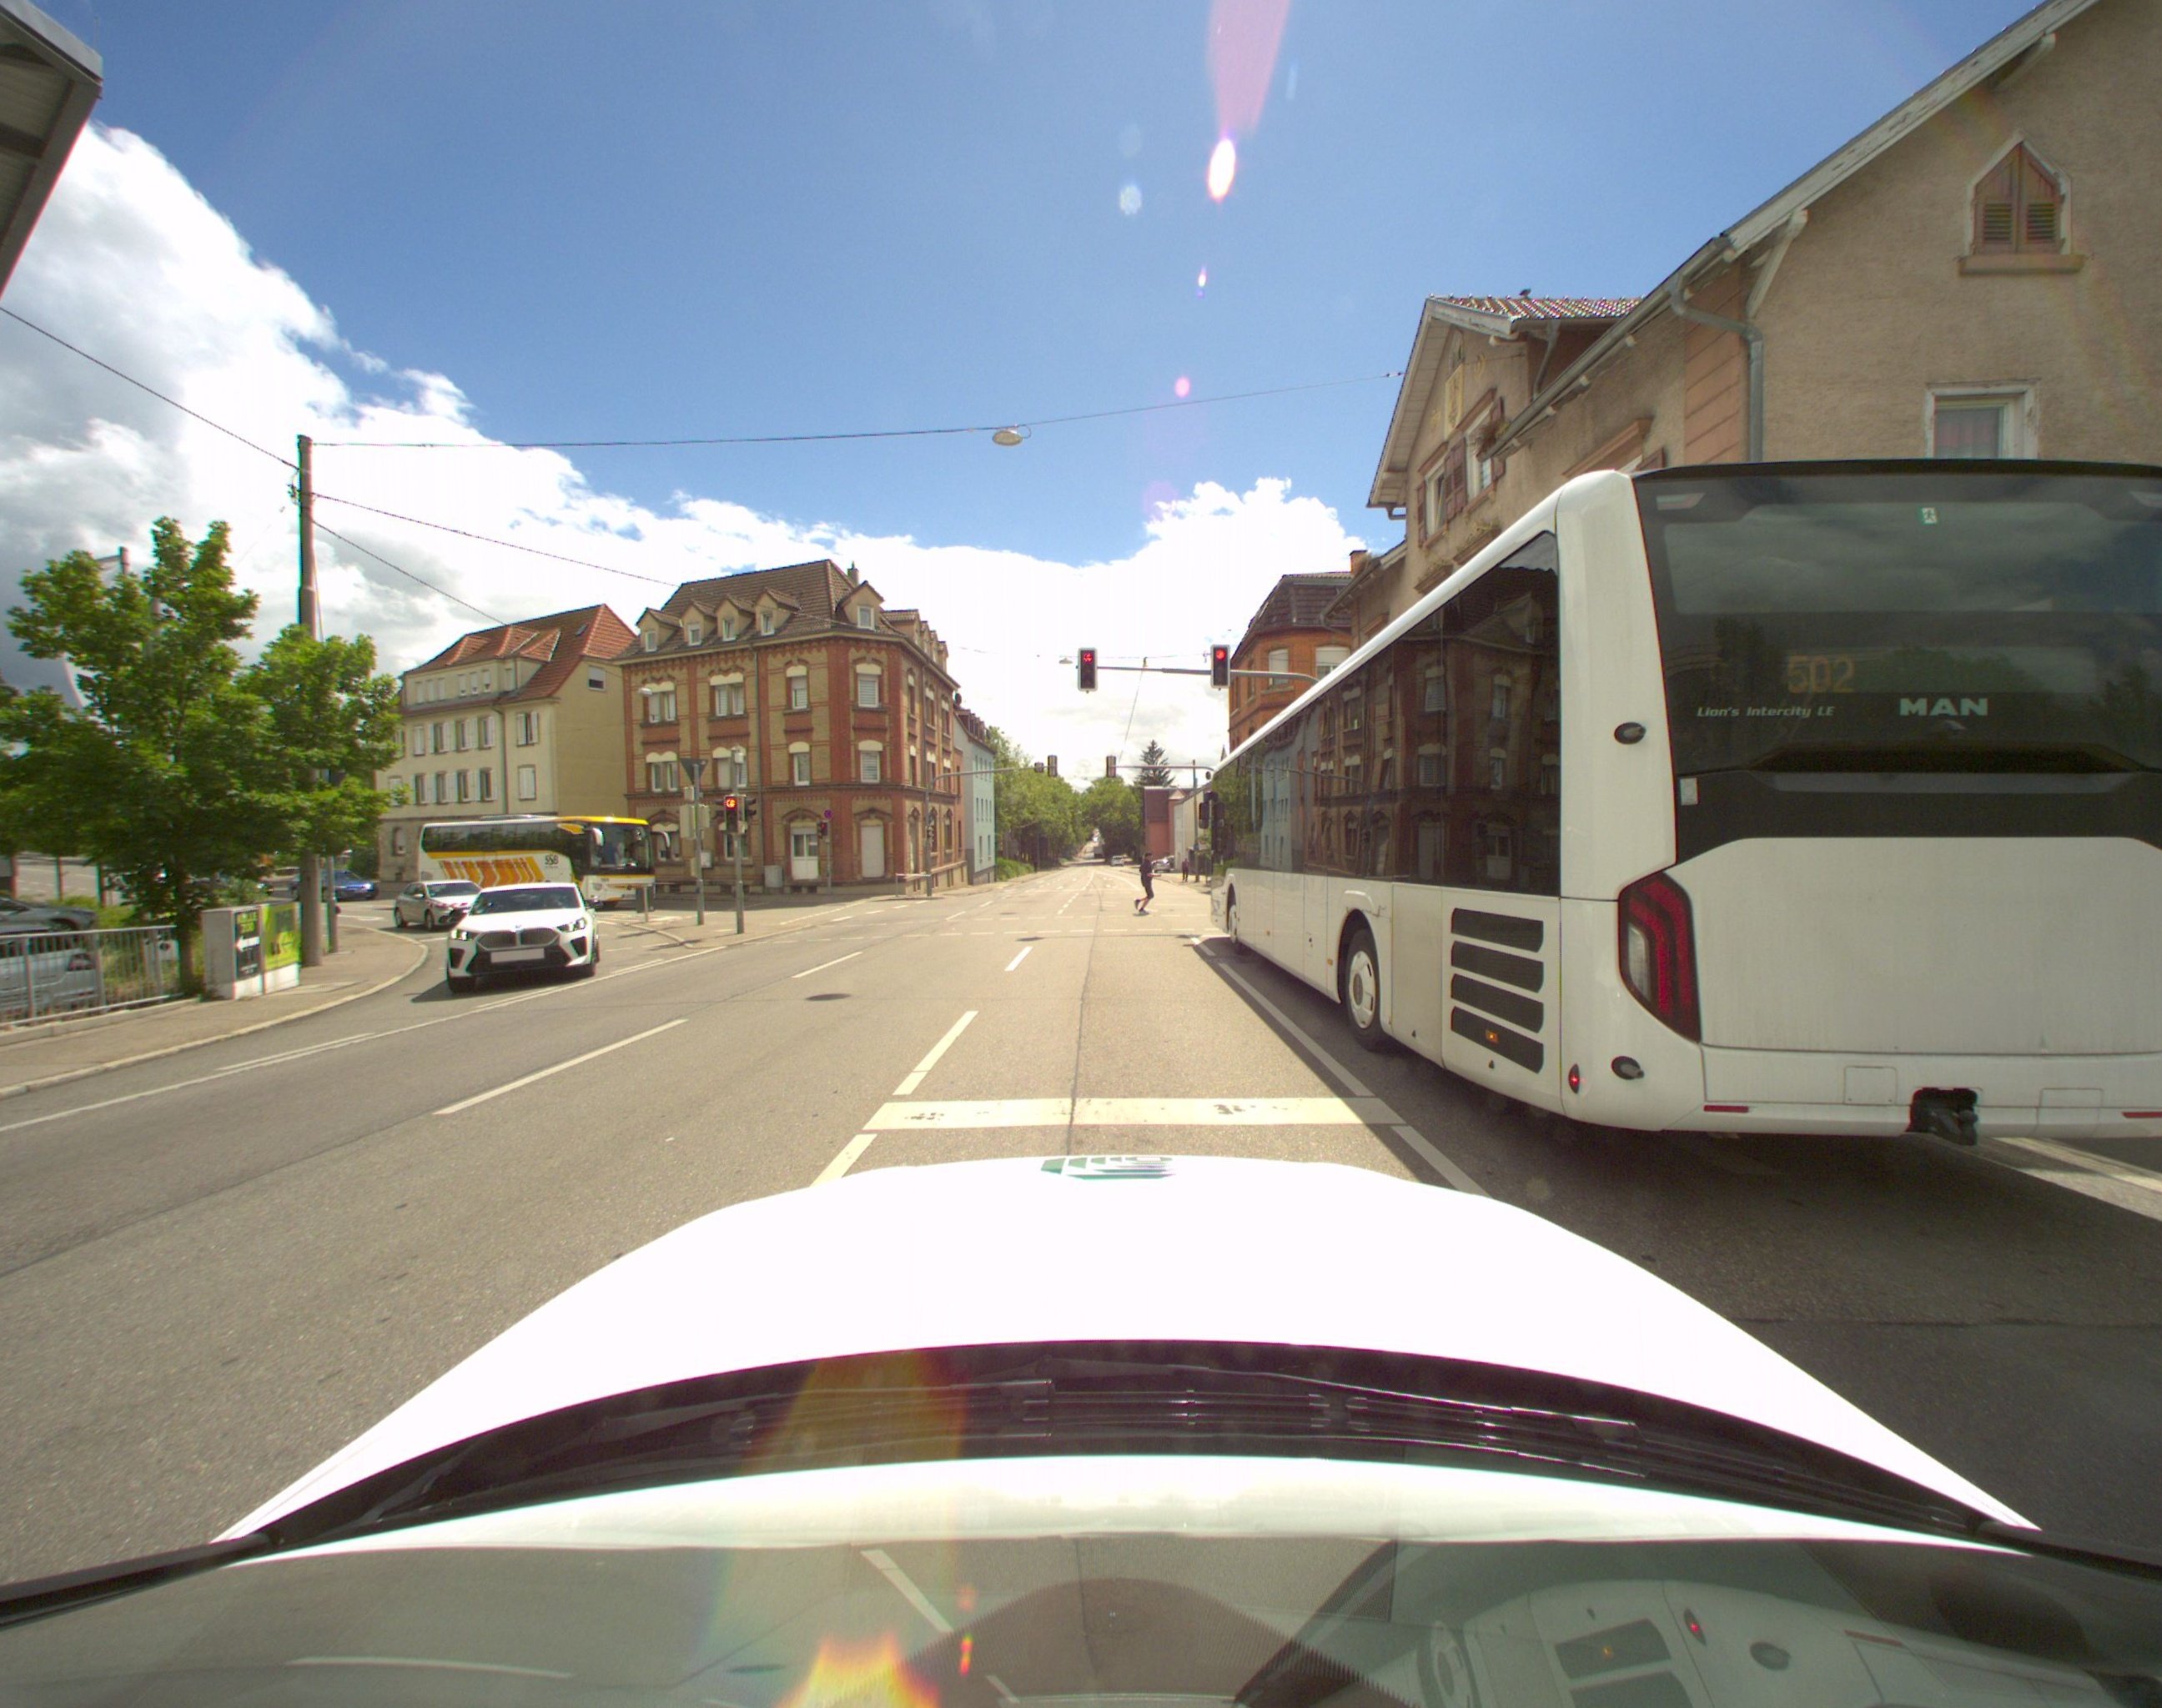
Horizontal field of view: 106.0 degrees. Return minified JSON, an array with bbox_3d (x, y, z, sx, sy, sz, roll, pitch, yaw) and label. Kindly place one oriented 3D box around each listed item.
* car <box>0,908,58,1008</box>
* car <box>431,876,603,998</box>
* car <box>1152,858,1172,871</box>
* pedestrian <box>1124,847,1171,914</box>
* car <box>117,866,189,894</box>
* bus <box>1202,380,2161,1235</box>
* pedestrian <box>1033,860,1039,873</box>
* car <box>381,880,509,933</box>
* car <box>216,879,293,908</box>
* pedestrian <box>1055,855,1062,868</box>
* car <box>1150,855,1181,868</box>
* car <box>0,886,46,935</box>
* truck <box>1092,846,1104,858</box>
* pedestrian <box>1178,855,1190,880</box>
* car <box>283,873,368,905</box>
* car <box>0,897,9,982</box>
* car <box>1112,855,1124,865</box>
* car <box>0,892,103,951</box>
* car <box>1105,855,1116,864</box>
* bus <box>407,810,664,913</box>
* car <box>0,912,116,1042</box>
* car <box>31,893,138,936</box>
[{"bbox_3d":[-19.637,1.827,14.216,3.455,1.526,1.626,-1,2,29],"label":"car"},{"bbox_3d":[-9.188,1.267,13.615,1.839,1.552,4.265,-4,-1,-29],"label":"car"},{"bbox_3d":[9.228,1.175,93.029,1.788,1.409,4.000,-2,0,1],"label":"car"},{"bbox_3d":[1.771,0.687,21.856,1.138,1.734,0.758,-2,0,-3],"label":"pedestrian"},{"bbox_3d":[-53.669,1.507,47.086,3.949,1.554,1.923,-2,0,29],"label":"car"},{"bbox_3d":[3.461,-0.161,9.294,2.662,3.155,12.467,-2,0,2],"label":"bus"},{"bbox_3d":[-5.327,1.509,96.440,0.727,1.565,0.561,-1,-1,0],"label":"pedestrian"},{"bbox_3d":[-19.240,1.549,24.620,3.574,1.418,1.896,-2,0,32],"label":"car"},{"bbox_3d":[-44.586,2.117,43.927,3.949,1.409,1.923,-2,0,29],"label":"car"},{"bbox_3d":[-3.510,1.240,128.262,0.991,2.013,1.189,-2,0,1],"label":"pedestrian"},{"bbox_3d":[11.774,1.045,113.084,3.978,1.757,1.998,-2,0,-3],"label":"car"},{"bbox_3d":[-36.361,1.893,25.835,1.785,1.554,4.023,-2,0,25],"label":"car"},{"bbox_3d":[4.786,-0.626,229.456,2.917,3.081,7.883,-2,0,0],"label":"truck"},{"bbox_3d":[7.585,0.988,59.819,0.736,1.750,0.619,-2,0,1],"label":"pedestrian"},{"bbox_3d":[-36.044,1.641,38.847,3.949,1.409,1.762,-2,0,28],"label":"car"},{"bbox_3d":[-23.469,1.764,16.472,3.455,1.680,1.663,-1,2,30],"label":"car"},{"bbox_3d":[5.876,0.948,129.410,1.787,1.409,4.002,-1,0,2],"label":"car"},{"bbox_3d":[-29.471,1.859,22.102,1.777,1.477,3.522,-2,0,32],"label":"car"},{"bbox_3d":[5.288,0.988,145.926,1.787,1.409,4.421,-1,0,3],"label":"car"},{"bbox_3d":[-21.990,0.359,32.483,12.110,3.621,2.788,-1,0,26],"label":"bus"},{"bbox_3d":[-15.968,1.770,12.046,3.321,1.560,1.692,0,2,32],"label":"car"},{"bbox_3d":[-37.472,2.231,30.624,3.456,1.448,1.811,-2,0,26],"label":"car"}]
